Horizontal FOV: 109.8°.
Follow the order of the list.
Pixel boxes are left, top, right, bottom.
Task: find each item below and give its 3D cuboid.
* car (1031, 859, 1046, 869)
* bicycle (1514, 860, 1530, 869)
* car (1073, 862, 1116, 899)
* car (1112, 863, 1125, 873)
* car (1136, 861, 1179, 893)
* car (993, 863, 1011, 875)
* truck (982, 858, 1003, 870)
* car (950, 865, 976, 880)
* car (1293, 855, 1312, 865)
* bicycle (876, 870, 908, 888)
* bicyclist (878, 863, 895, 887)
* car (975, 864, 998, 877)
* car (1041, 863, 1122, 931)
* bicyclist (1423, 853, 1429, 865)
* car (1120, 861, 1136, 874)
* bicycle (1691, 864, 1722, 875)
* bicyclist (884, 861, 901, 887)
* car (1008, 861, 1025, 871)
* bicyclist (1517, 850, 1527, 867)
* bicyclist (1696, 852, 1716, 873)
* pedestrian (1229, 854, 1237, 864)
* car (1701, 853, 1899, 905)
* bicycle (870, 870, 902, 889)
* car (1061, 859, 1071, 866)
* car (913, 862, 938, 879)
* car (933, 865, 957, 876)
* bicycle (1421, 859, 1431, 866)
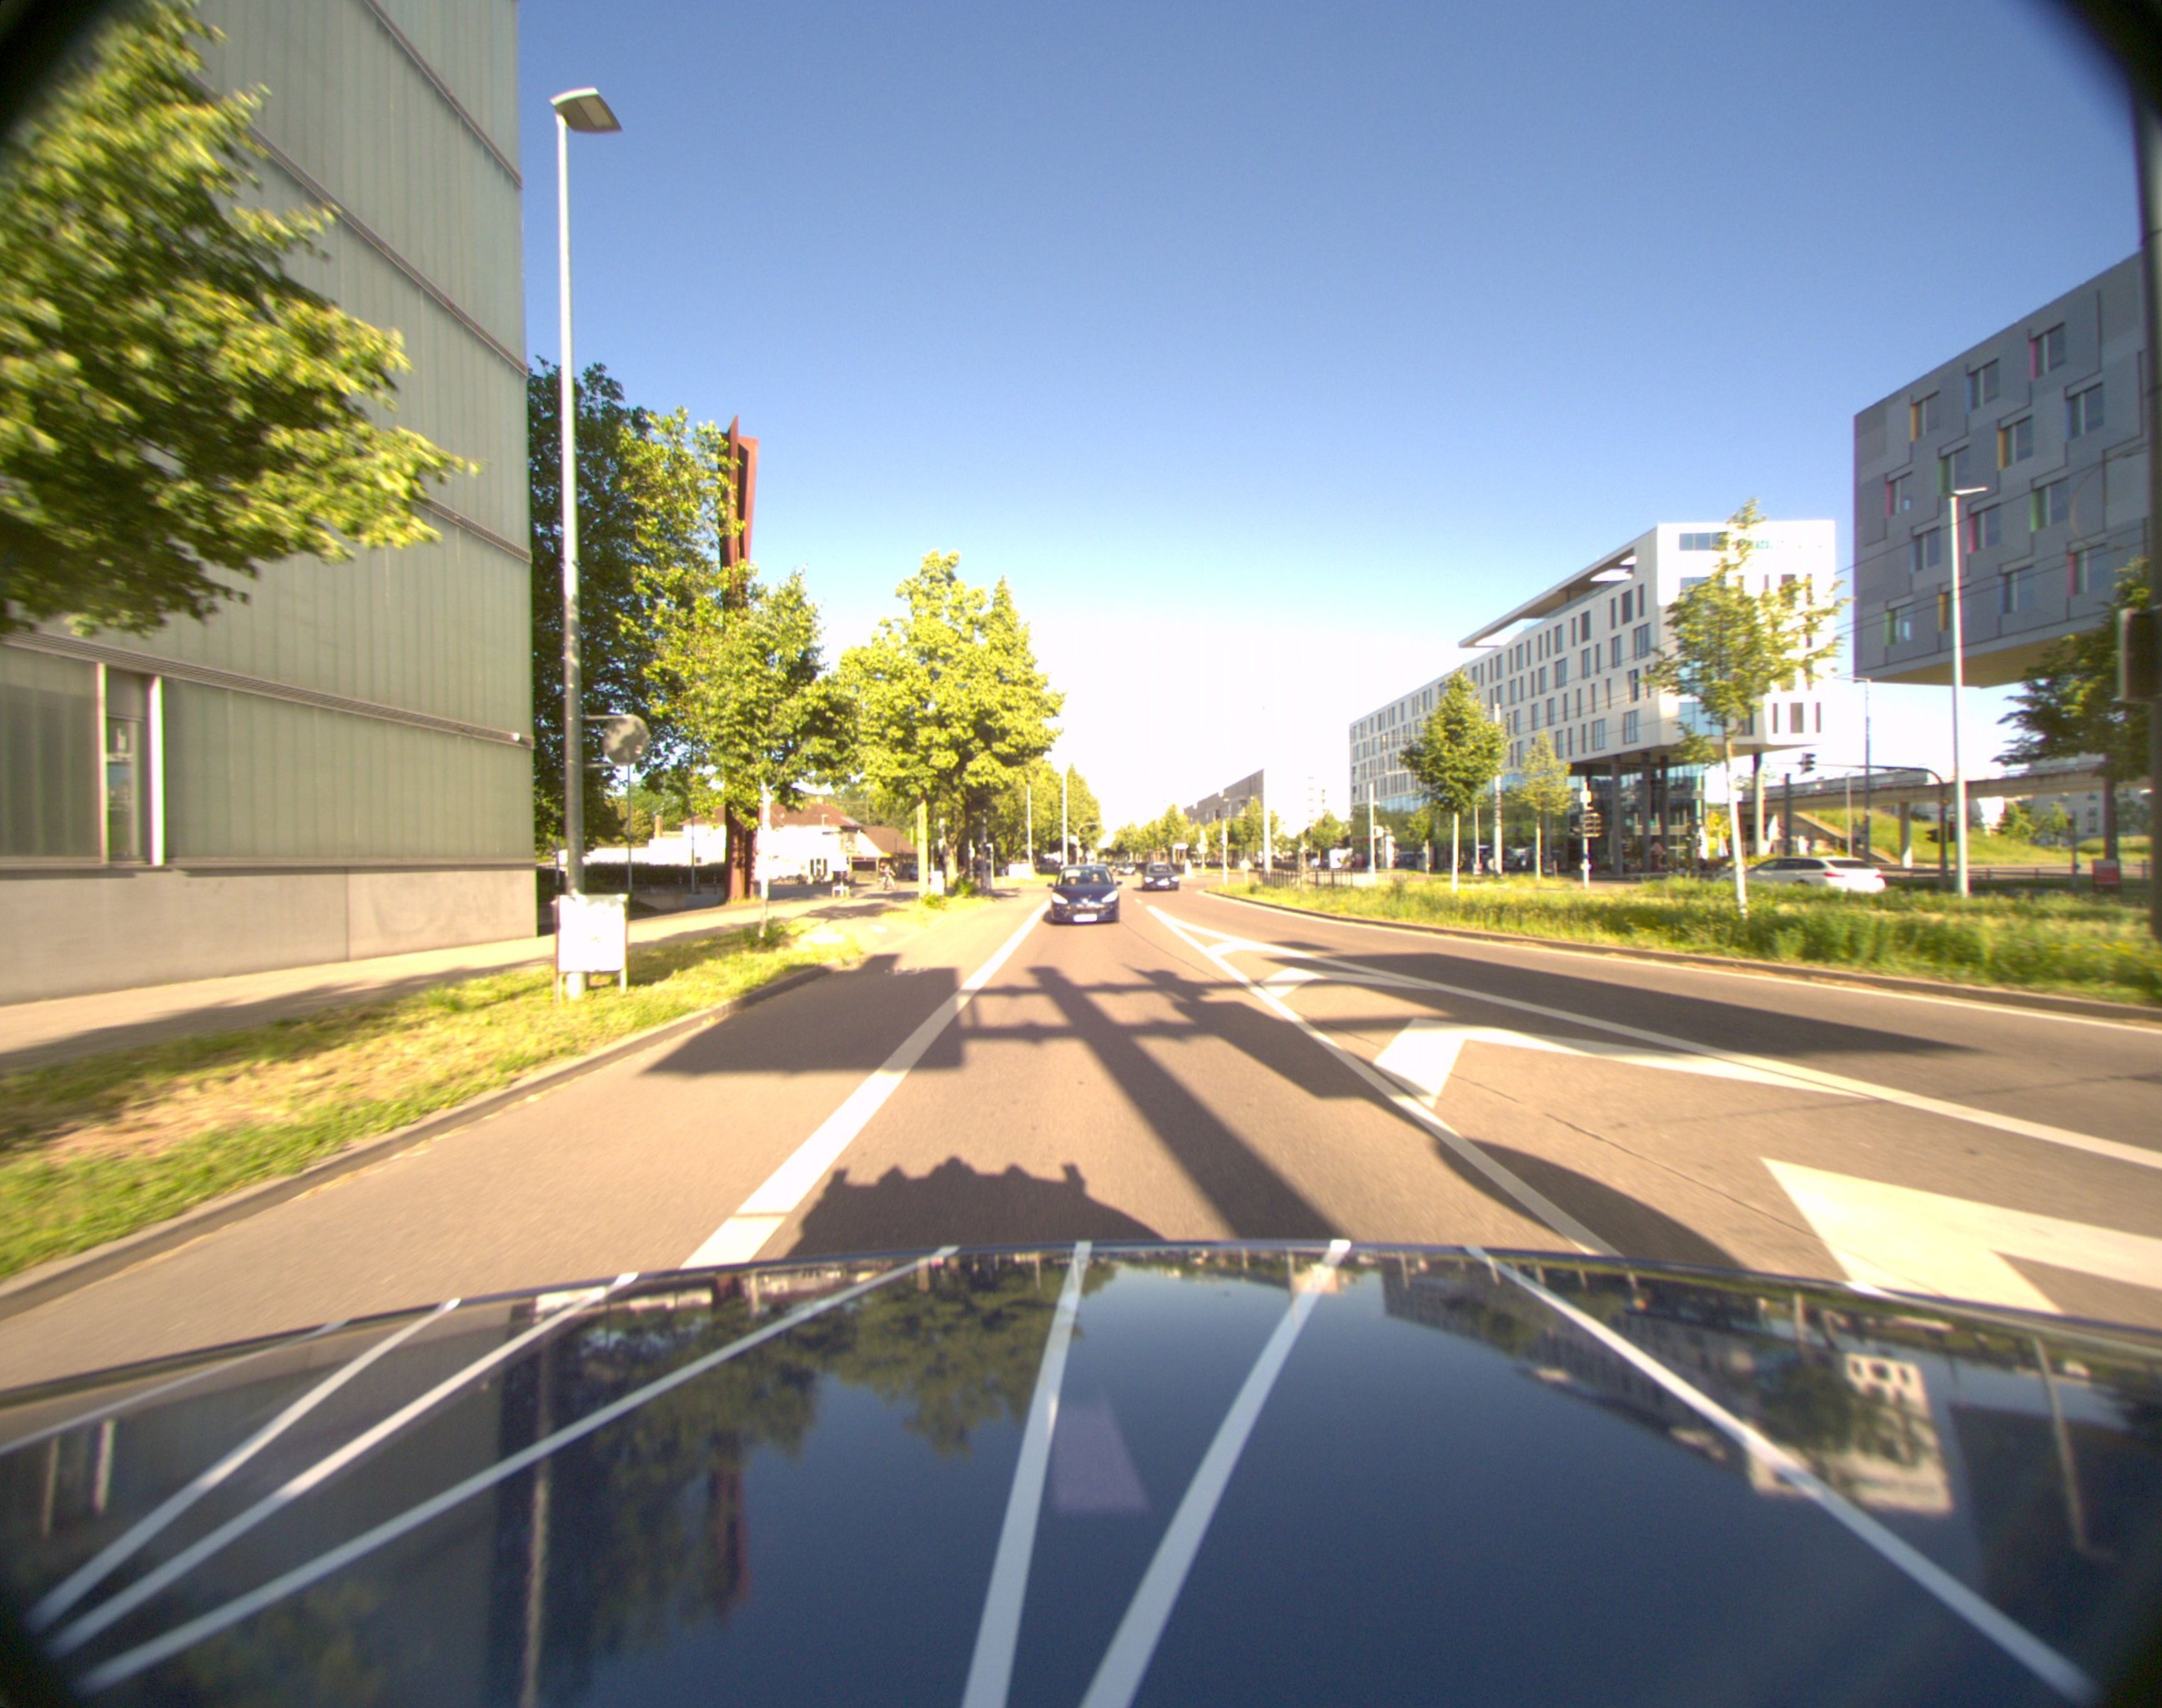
[{"bbox_3d":[-7.621,1.778,136.527,1.997,1.587,4.657,-2,0,7],"label":"car"},{"bbox_3d":[43.412,1.070,74.809,0.529,0.857,1.834,-1,0,2],"label":"bicycle"},{"bbox_3d":[0.697,1.213,36.473,1.802,1.518,4.606,-3,0,3],"label":"car"},{"bbox_3d":[5.706,2.127,116.377,1.839,1.483,4.006,-3,0,1],"label":"car"},{"bbox_3d":[4.020,1.168,40.416,1.803,1.518,4.343,-3,0,0],"label":"car"},{"bbox_3d":[-10.781,2.006,103.600,1.898,1.477,4.050,-2,0,1],"label":"car"},{"bbox_3d":[-16.323,1.862,140.493,2.454,2.063,6.583,-2,0,4],"label":"truck"},{"bbox_3d":[-12.390,1.898,80.015,1.898,1.456,4.038,-2,0,4],"label":"car"},{"bbox_3d":[37.162,0.965,127.484,1.803,1.518,4.343,-3,0,0],"label":"car"},{"bbox_3d":[-12.963,1.720,52.020,2.100,1.196,0.552,-1,0,12],"label":"bicycle"},{"bbox_3d":[-13.074,1.405,51.066,0.876,1.644,0.794,-1,0,12],"label":"bicyclist"},{"bbox_3d":[-11.680,1.988,93.827,1.898,1.479,4.348,-2,0,5],"label":"car"},{"bbox_3d":[0.133,1.061,20.610,1.802,1.518,4.607,-3,0,4],"label":"car"},{"bbox_3d":[42.597,0.608,93.750,0.482,1.414,0.553,-1,0,0],"label":"bicyclist"},{"bbox_3d":[5.592,1.619,90.385,1.675,1.418,4.006,-3,0,2],"label":"car"},{"bbox_3d":[49.779,1.242,60.472,1.829,0.857,0.749,-1,0,3],"label":"bicycle"},{"bbox_3d":[-12.897,1.360,51.981,0.876,1.727,0.833,-1,0,12],"label":"bicyclist"},{"bbox_3d":[-9.637,1.829,113.371,1.942,1.372,3.914,-2,0,3],"label":"car"},{"bbox_3d":[43.402,0.459,74.812,0.531,1.716,0.837,-1,0,2],"label":"bicyclist"},{"bbox_3d":[49.706,0.673,60.476,0.955,1.574,0.751,-1,0,3],"label":"bicyclist"},{"bbox_3d":[22.930,0.788,114.720,1.068,1.458,0.844,-2,0,6],"label":"pedestrian"},{"bbox_3d":[23.855,0.780,25.546,1.999,1.553,4.871,-1,0,0],"label":"car"},{"bbox_3d":[-13.095,1.717,51.087,2.100,1.196,0.552,-1,0,15],"label":"bicycle"},{"bbox_3d":[-3.427,1.985,175.843,1.998,1.575,4.001,-2,0,2],"label":"car"},{"bbox_3d":[-19.505,1.996,95.399,1.898,2.025,5.072,0,0,3],"label":"car"},{"bbox_3d":[-18.829,2.272,105.235,1.898,1.477,4.916,-2,0,6],"label":"car"},{"bbox_3d":[42.609,0.998,93.786,0.483,0.857,1.692,-1,0,0],"label":"bicycle"}]
